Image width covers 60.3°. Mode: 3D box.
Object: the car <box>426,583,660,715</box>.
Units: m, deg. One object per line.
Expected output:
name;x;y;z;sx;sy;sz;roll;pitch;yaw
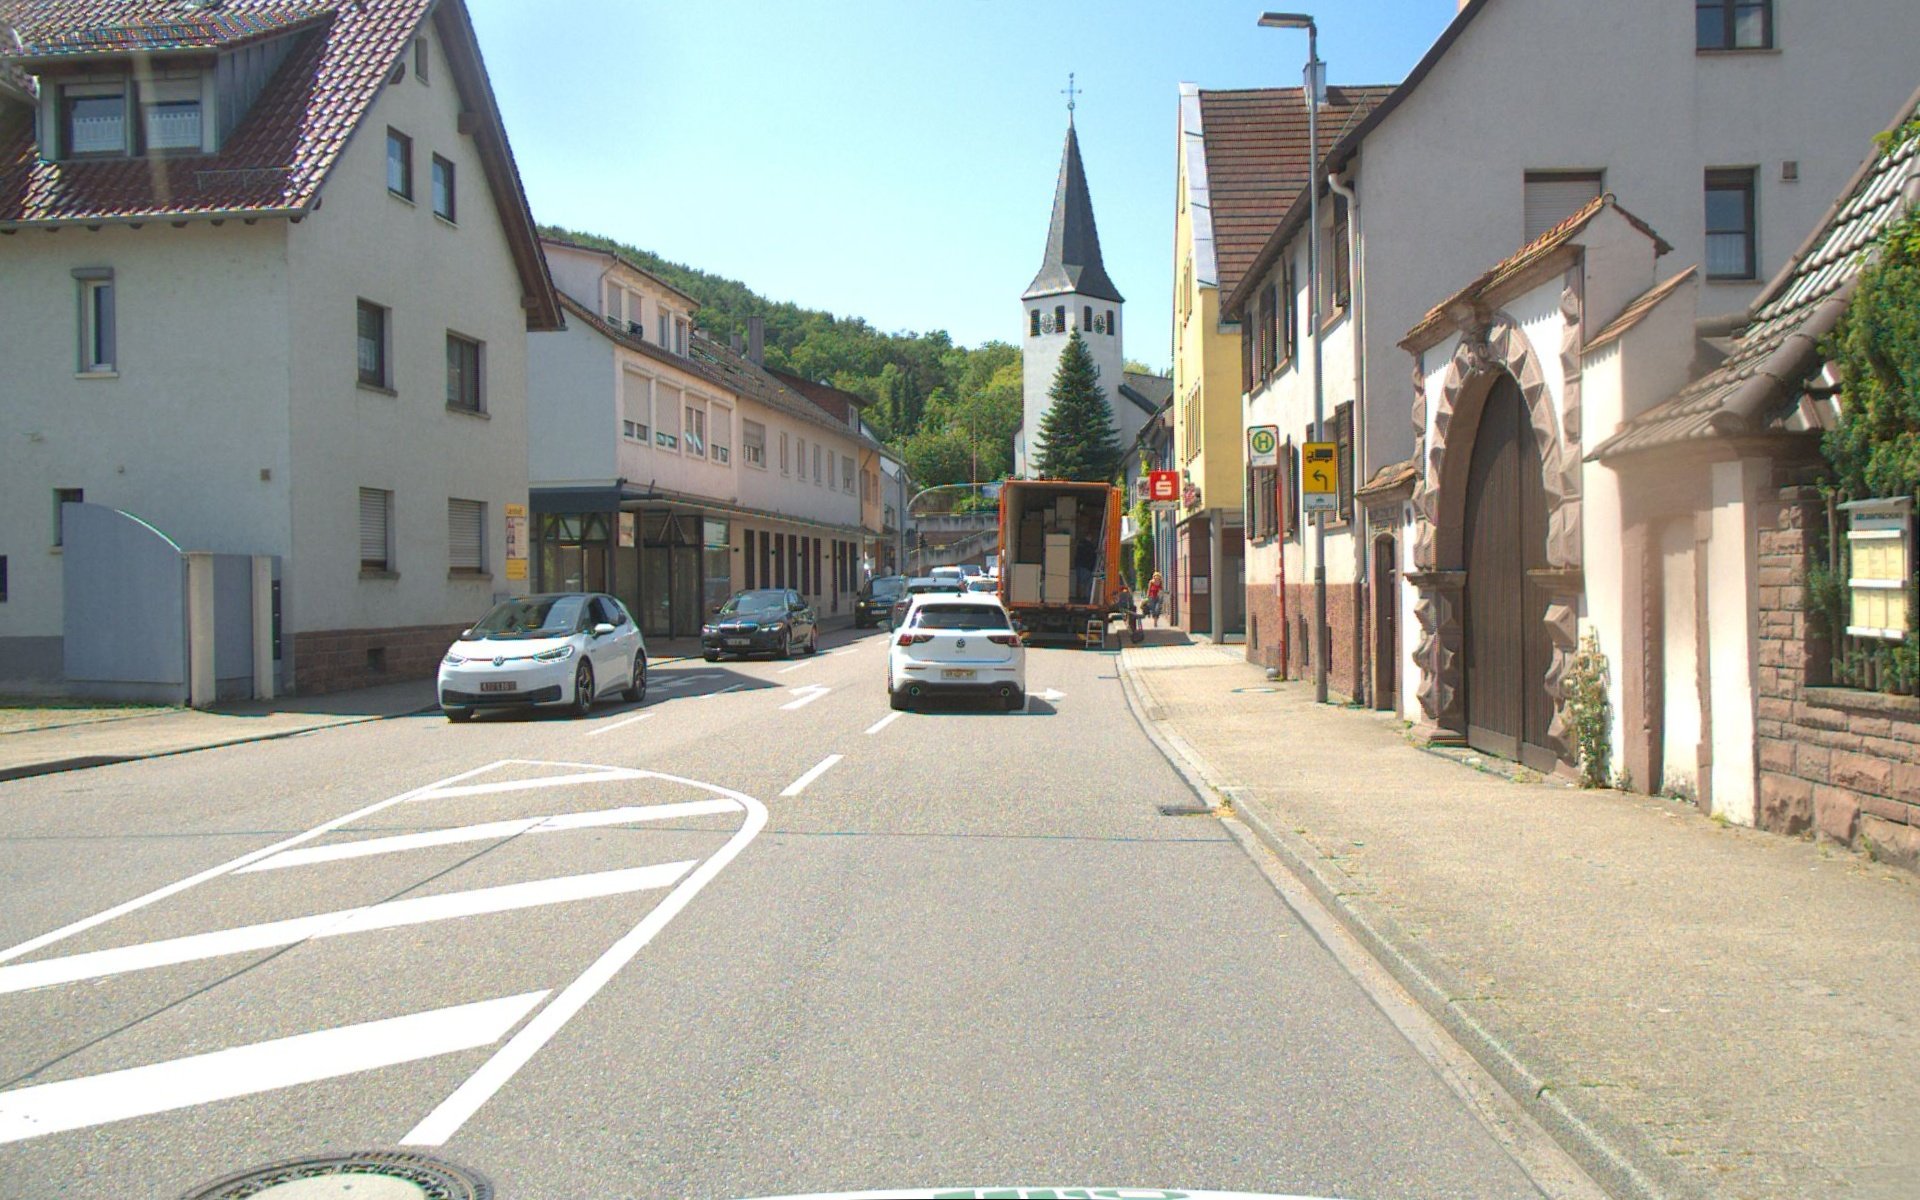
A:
car;-5.412;0.597;22.008;1.758;1.534;4.136;-2;0;4

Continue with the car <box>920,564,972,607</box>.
car;-0.600;-0.668;75.010;1.763;1.811;4.708;-2;1;6

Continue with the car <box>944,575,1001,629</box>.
car;0.397;0.080;54.481;1.778;1.657;4.000;-2;0;0

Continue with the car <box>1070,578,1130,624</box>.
car;4.986;0.042;59.281;1.778;1.545;4.000;-2;0;0

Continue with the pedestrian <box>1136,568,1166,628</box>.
pedestrian;5.843;-0.061;50.574;0.753;1.773;0.870;-2;0;-2

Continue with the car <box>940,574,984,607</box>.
car;0.131;-0.495;88.709;1.951;1.680;4.003;-2;0;6

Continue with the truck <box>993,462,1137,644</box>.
truck;2.704;-1.112;44.236;3.297;4.243;9.522;-2;0;2

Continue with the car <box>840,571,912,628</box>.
car;-2.727;-0.058;54.720;1.655;1.728;4.116;-2;1;7

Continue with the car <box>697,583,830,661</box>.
car;-4.150;0.454;35.612;1.755;1.519;4.425;-2;0;8

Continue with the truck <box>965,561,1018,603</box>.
truck;2.067;-1.130;106.318;2.073;2.517;5.740;-2;0;15

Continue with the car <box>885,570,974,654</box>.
car;-0.626;0.248;35.994;1.778;1.657;4.000;-2;0;0

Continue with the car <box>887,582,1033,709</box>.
car;0.004;0.559;22.209;1.778;1.545;4.000;0;0;0
